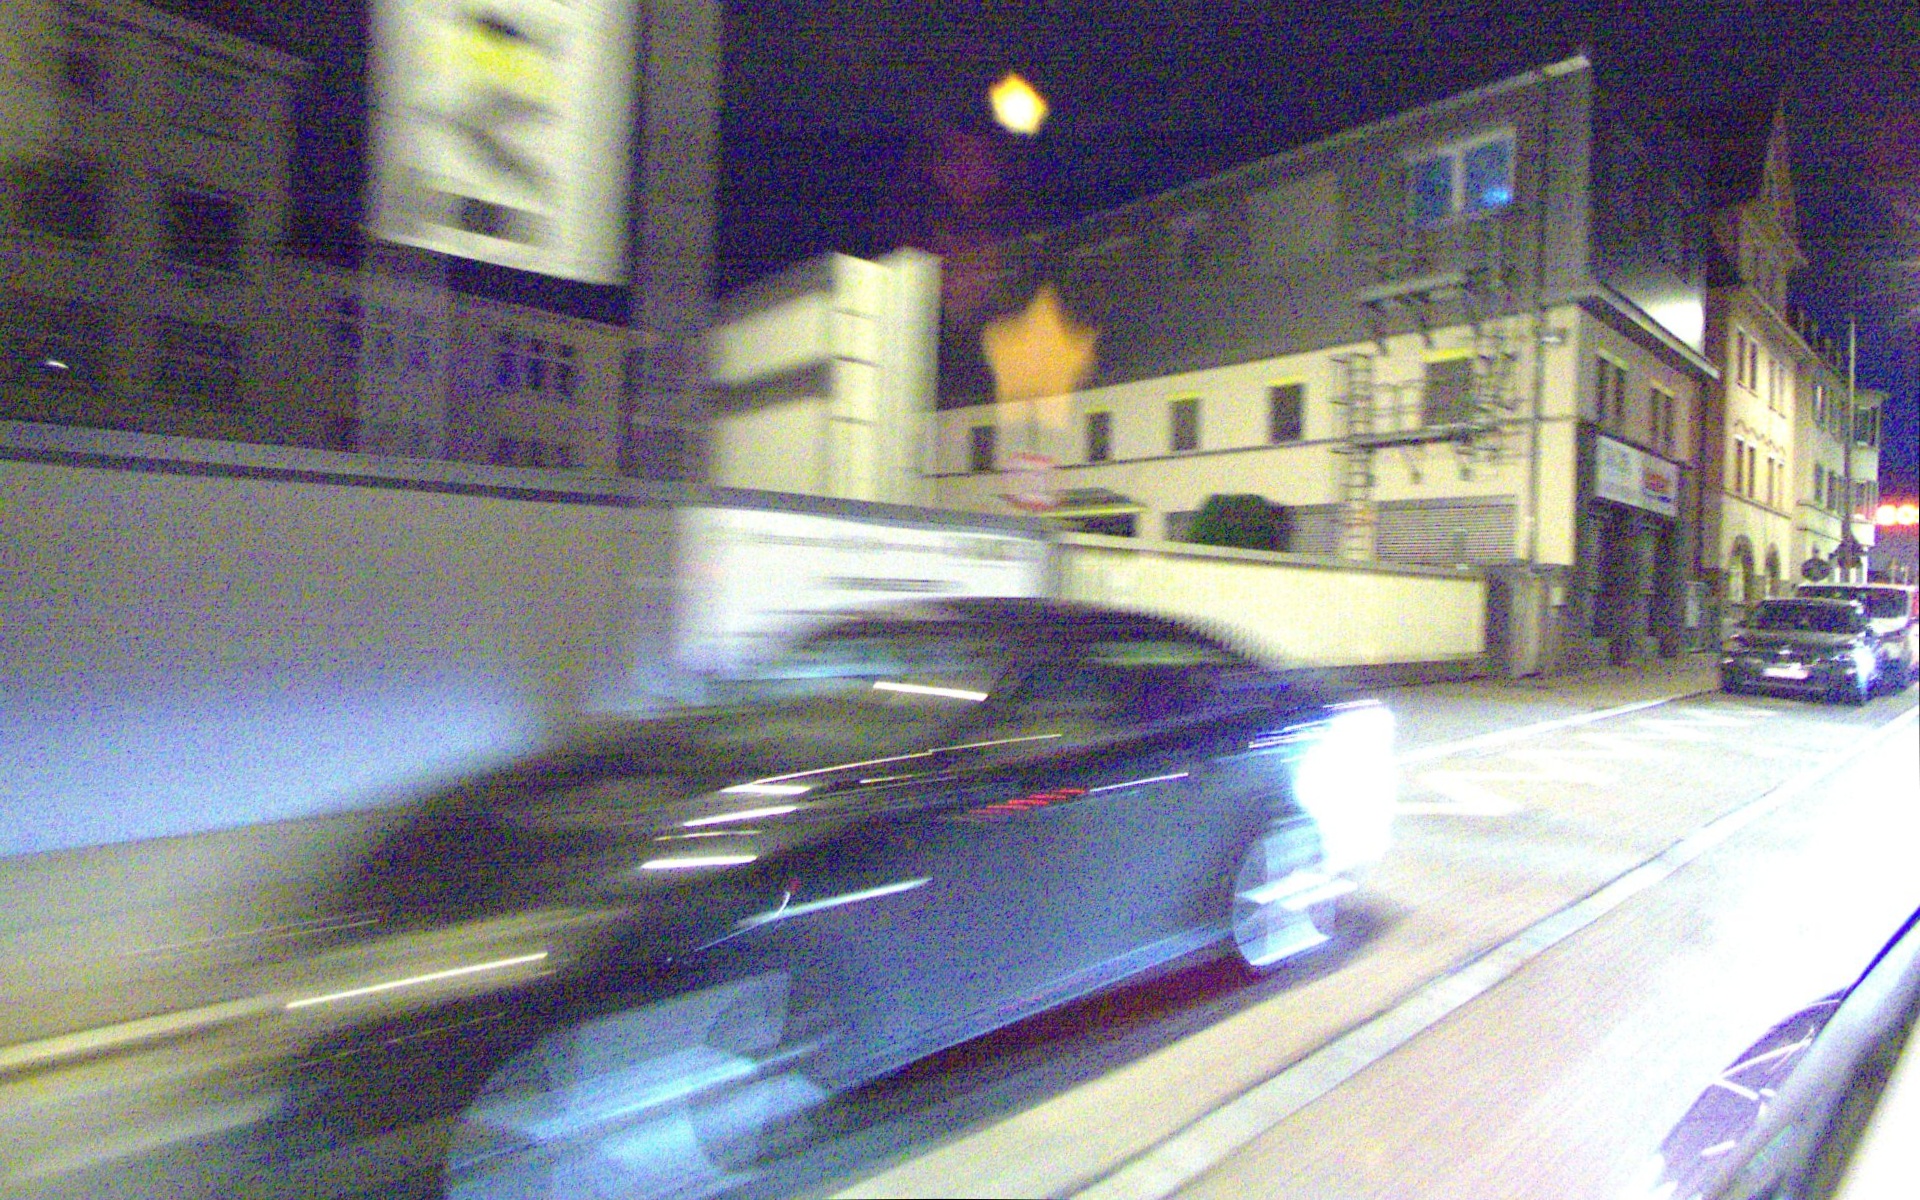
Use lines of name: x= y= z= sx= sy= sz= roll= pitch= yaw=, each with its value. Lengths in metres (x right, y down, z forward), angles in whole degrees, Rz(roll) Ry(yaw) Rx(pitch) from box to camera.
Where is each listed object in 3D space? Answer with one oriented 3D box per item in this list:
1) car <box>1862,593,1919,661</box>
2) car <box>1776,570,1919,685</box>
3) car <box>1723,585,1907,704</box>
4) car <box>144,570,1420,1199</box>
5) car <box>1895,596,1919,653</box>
car: x=24.622 y=0.648 z=25.953 sx=4.139 sy=1.585 sz=1.747 roll=0 pitch=3 yaw=-42
car: x=18.042 y=0.440 z=20.019 sx=5.278 sy=1.952 sz=2.076 roll=0 pitch=3 yaw=-42
car: x=14.162 y=0.623 z=16.684 sx=4.150 sy=1.618 sz=1.822 roll=-1 pitch=4 yaw=-44
car: x=-0.191 y=0.643 z=3.764 sx=4.402 sy=1.444 sz=1.782 roll=0 pitch=1 yaw=-41
car: x=28.417 y=0.704 z=29.133 sx=4.751 sy=1.527 sz=1.747 roll=-1 pitch=3 yaw=-42
